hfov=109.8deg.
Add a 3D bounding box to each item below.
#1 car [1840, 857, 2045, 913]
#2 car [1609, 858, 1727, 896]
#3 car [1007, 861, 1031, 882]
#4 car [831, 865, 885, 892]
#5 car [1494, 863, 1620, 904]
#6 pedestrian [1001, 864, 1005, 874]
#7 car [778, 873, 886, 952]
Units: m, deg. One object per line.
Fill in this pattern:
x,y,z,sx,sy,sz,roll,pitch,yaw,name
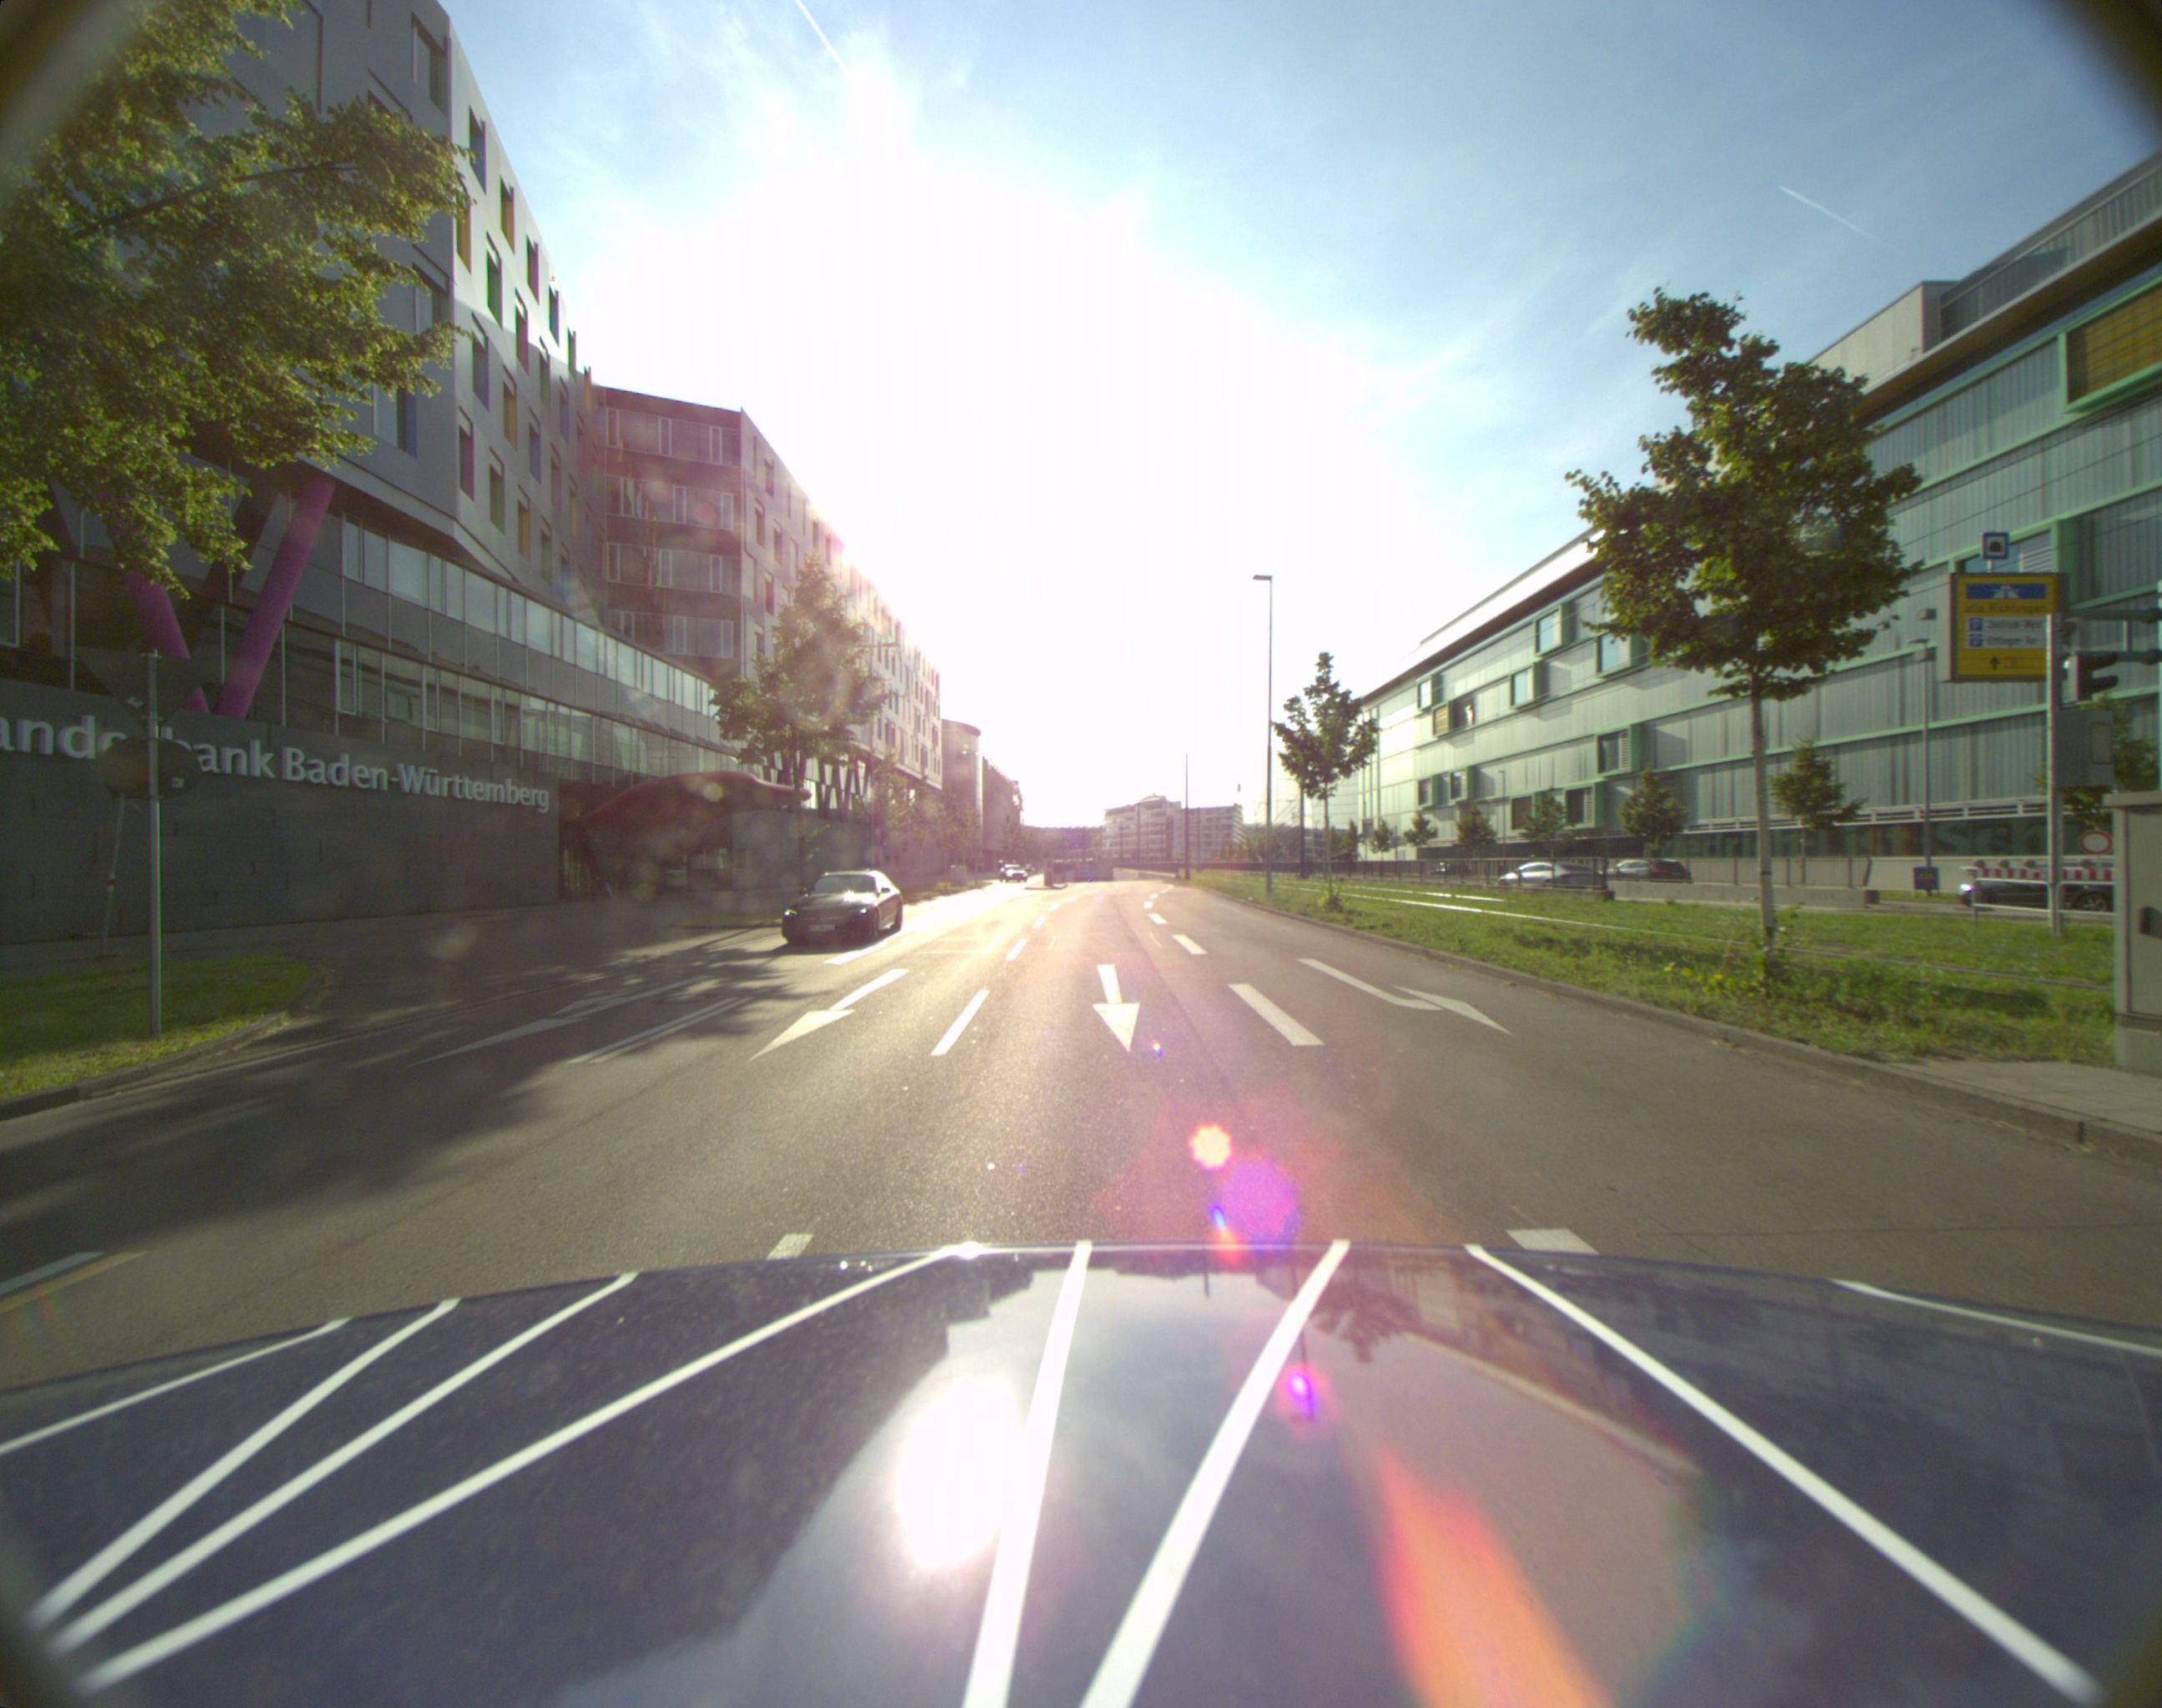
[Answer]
27.366,0.925,24.385,1.913,1.624,4.180,-1,0,1,car
27.506,1.053,35.809,1.998,1.677,4.616,0,-1,0,car
-5.358,1.487,65.624,1.895,1.419,4.469,-1,3,-3,car
-11.886,1.288,40.801,1.696,1.381,4.199,0,-1,-1,car
19.521,1.161,31.481,1.999,1.519,4.912,0,-1,-2,car
-14.068,2.668,136.880,0.725,1.776,0.772,0,0,0,pedestrian
-5.402,1.182,17.032,1.845,1.441,4.551,-1,-1,-13,car
